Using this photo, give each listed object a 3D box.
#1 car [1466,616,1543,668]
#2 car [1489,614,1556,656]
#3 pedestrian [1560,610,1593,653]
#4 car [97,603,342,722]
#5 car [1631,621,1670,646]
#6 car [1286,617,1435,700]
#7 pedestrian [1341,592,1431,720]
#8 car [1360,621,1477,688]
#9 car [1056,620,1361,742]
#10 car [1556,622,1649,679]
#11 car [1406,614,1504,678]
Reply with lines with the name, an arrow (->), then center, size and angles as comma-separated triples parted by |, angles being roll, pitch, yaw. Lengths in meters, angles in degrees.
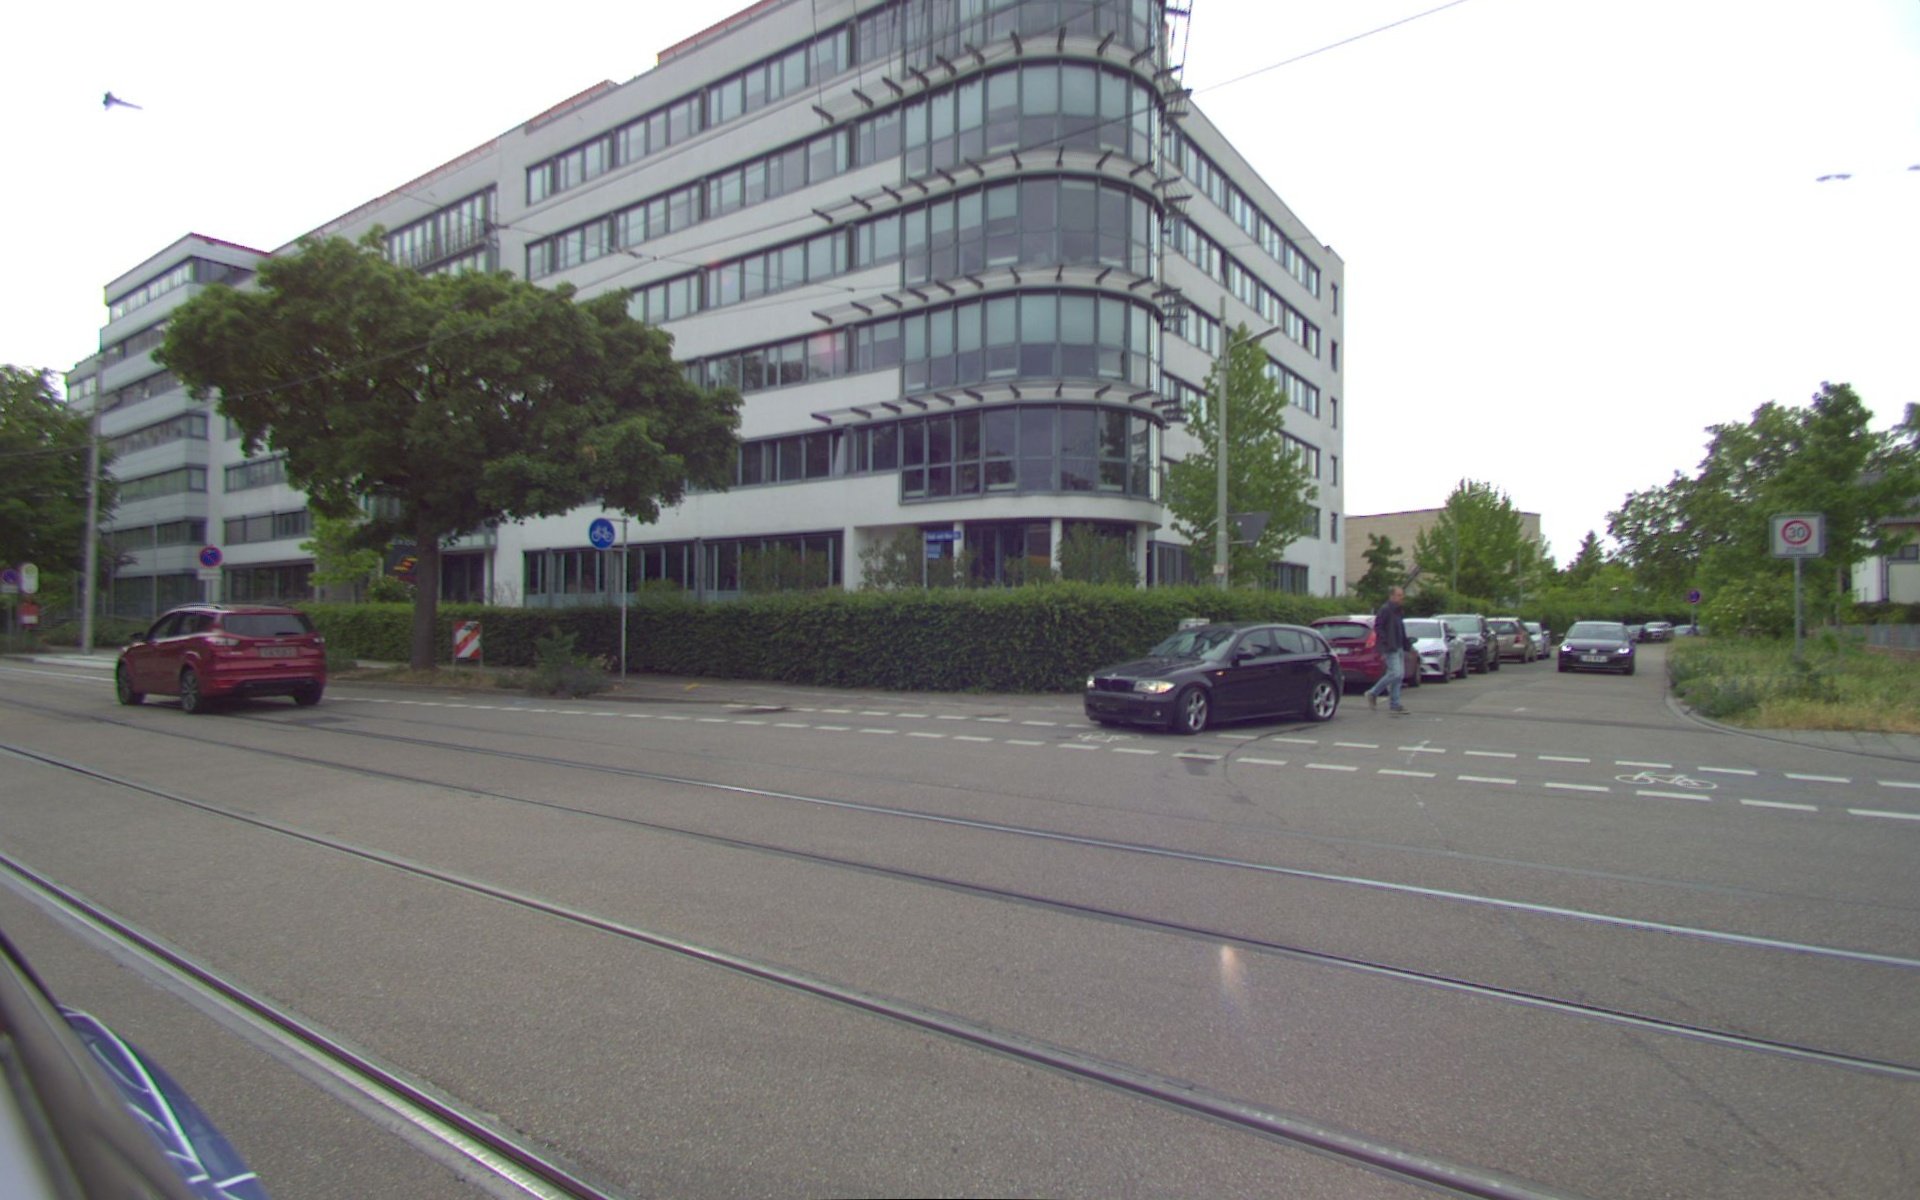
car -> 19.356, 1.433, 35.894 | 1.885, 1.694, 3.790 | -1, 0, 36
car -> 22.832, 1.357, 41.013 | 1.877, 1.573, 3.951 | -1, 0, 36
pedestrian -> 29.676, 1.525, 48.764 | 1.181, 2.029, 1.206 | 0, -2, 24
car -> -12.289, 0.939, 16.733 | 4.394, 1.737, 1.827 | 0, -2, 33
car -> 58.254, 2.809, 85.342 | 2.001, 2.029, 3.941 | -1, -1, 45
car -> 7.889, 1.083, 19.745 | 1.722, 1.433, 3.970 | -3, -3, 36
pedestrian -> 6.388, 0.805, 15.190 | 1.058, 1.839, 0.796 | -1, -1, 40
car -> 10.658, 1.188, 23.394 | 1.775, 1.359, 4.000 | -1, -1, 35
car -> 3.465, 1.002, 13.897 | 4.044, 1.379, 1.793 | 0, 0, -33
car -> 18.215, 1.375, 28.625 | 1.814, 1.462, 3.935 | -1, -2, 39
car -> 13.828, 1.213, 28.172 | 1.994, 1.663, 3.955 | -1, -1, 33
